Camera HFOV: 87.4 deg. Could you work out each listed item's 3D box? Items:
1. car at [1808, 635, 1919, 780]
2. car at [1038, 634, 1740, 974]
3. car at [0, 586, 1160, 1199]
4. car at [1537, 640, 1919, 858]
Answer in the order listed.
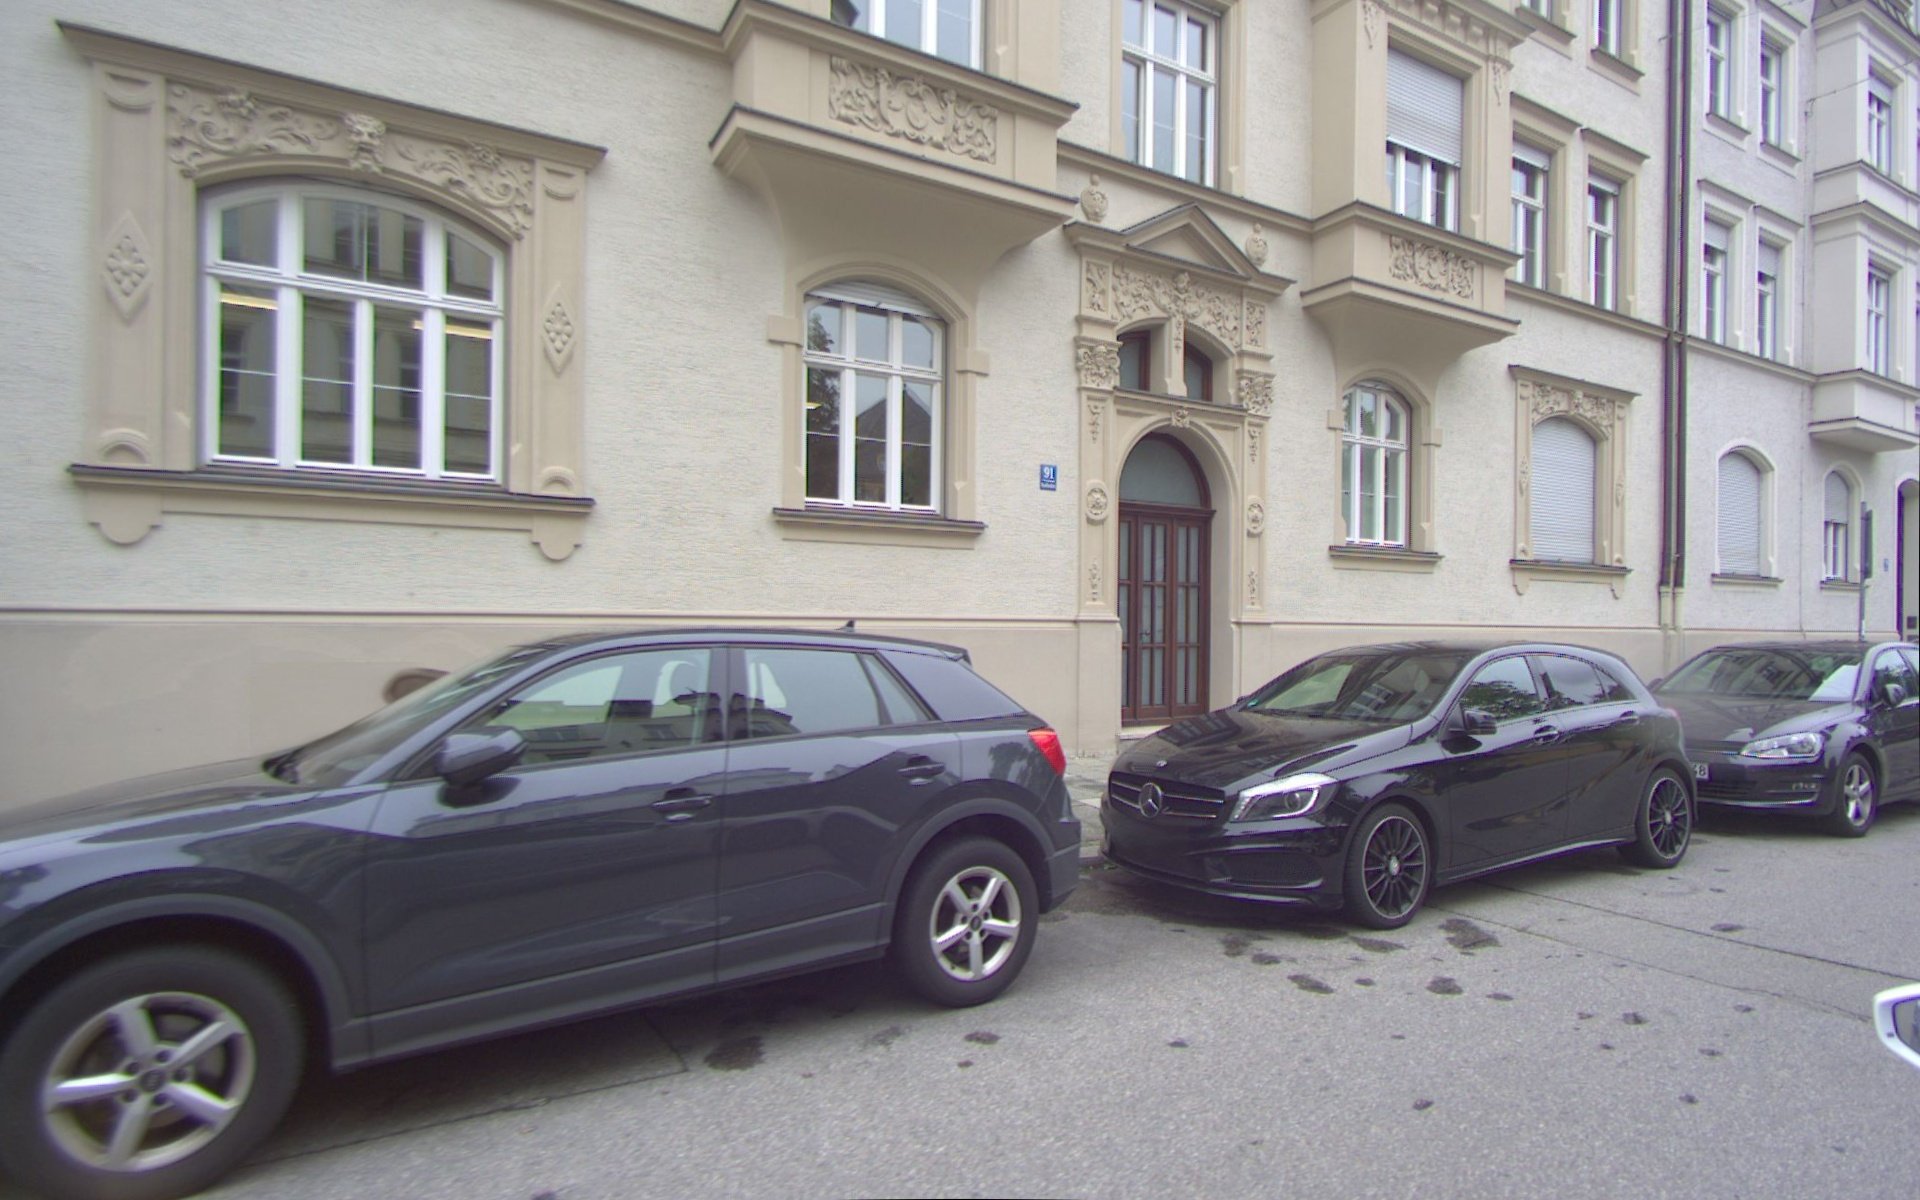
[{"bbox_3d":[11.789,1.160,11.613,3.970,1.519,1.746,1,-3,-30],"label":"car"},{"bbox_3d":[2.854,0.968,6.377,4.501,1.453,1.824,1,-2,-31],"label":"car"},{"bbox_3d":[-1.434,0.807,4.009,4.336,1.538,1.761,1,-4,-32],"label":"car"},{"bbox_3d":[7.143,1.097,8.685,4.193,1.454,1.829,1,-4,-30],"label":"car"}]
